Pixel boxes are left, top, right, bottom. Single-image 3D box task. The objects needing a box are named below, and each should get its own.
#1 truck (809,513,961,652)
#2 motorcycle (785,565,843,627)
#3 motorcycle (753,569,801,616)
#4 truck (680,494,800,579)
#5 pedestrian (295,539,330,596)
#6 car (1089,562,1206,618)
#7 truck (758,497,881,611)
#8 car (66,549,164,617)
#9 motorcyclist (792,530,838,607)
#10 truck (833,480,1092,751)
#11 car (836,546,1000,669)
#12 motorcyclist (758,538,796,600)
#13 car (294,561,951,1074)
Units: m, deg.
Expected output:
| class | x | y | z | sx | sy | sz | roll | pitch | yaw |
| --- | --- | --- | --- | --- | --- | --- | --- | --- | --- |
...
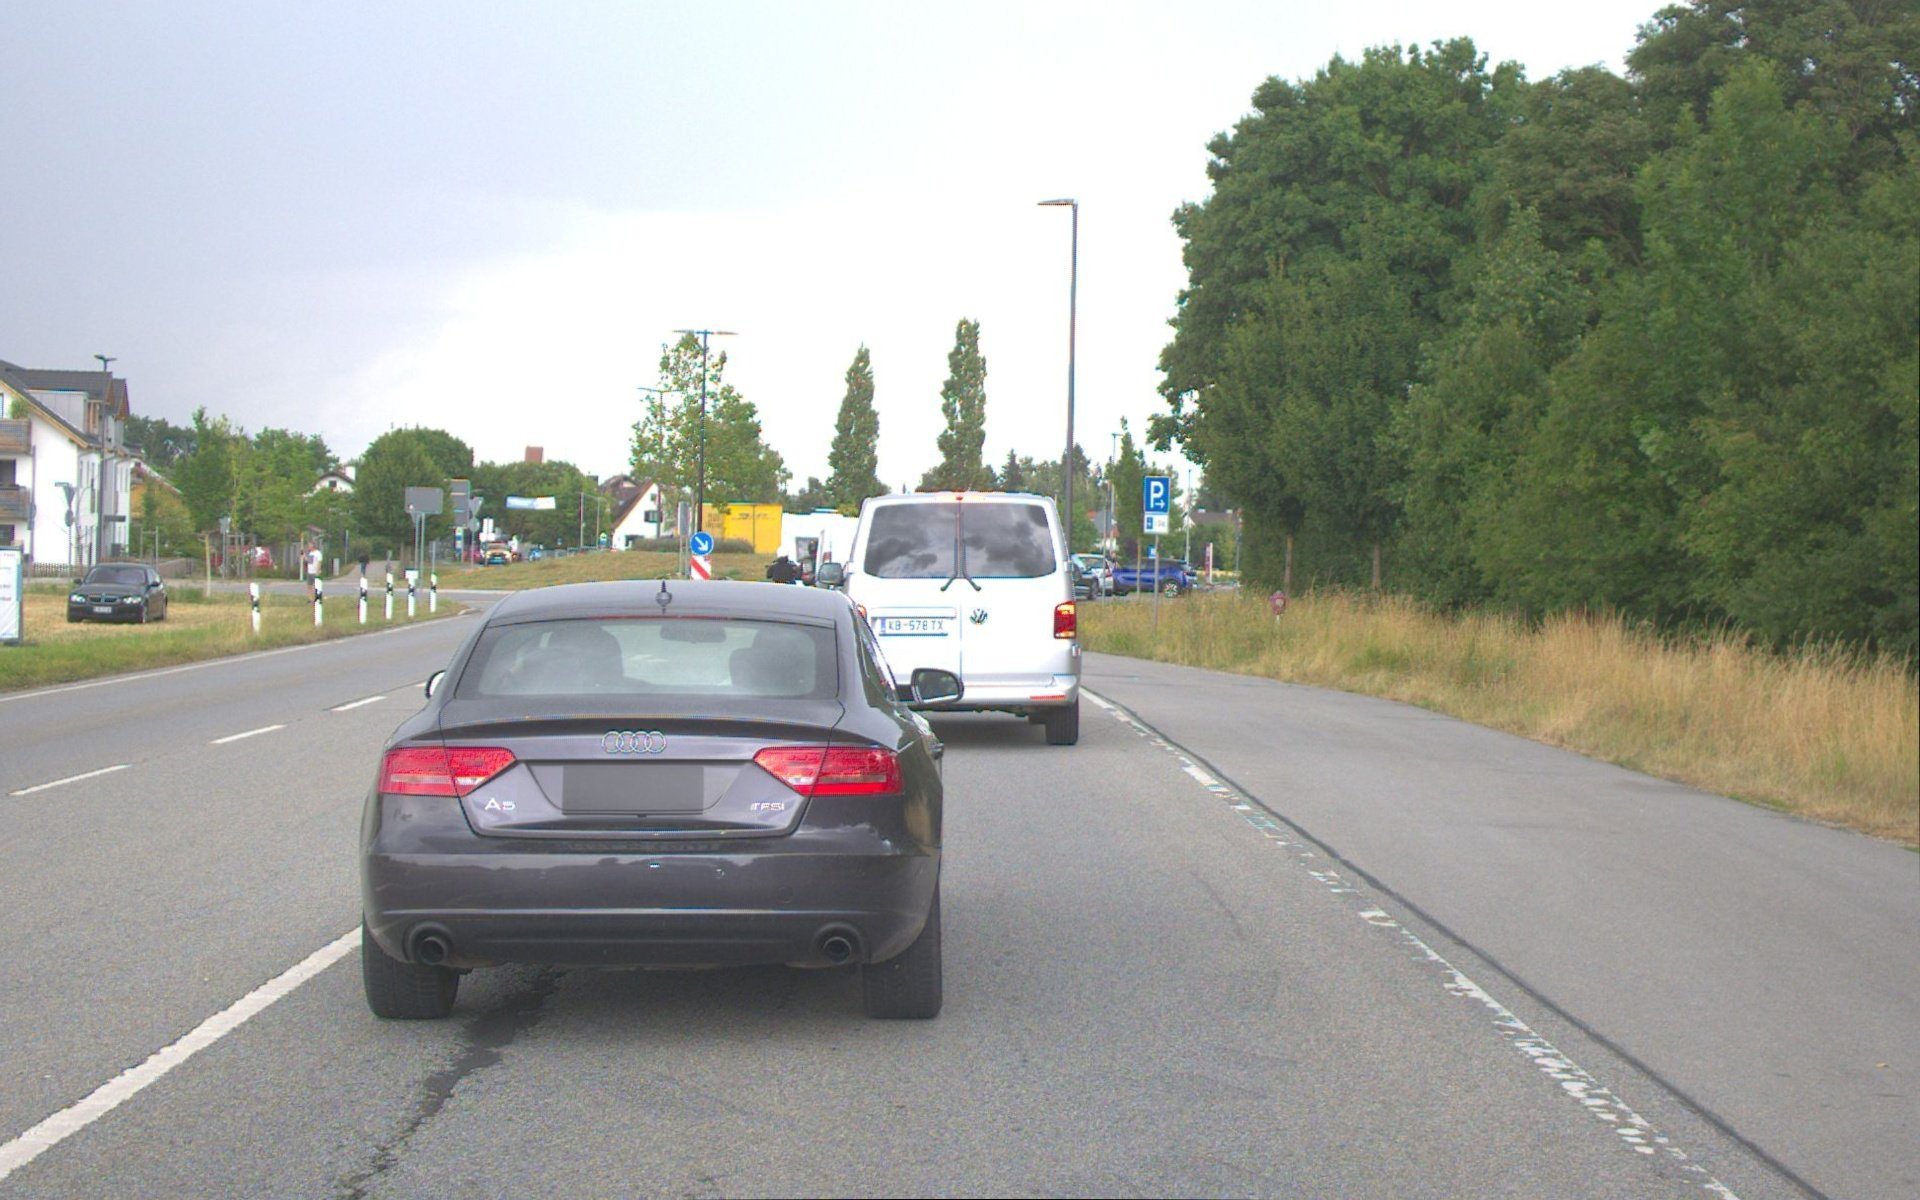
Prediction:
| class | x | y | z | sx | sy | sz | roll | pitch | yaw |
| --- | --- | --- | --- | --- | --- | --- | --- | --- | --- |
| truck | -1.107 | -0.288 | 53.392 | 2.193 | 2.007 | 5.085 | 1 | 1 | 0 |
| motorcycle | -2.664 | -0.077 | 62.958 | 0.920 | 1.090 | 2.189 | 1 | 1 | 0 |
| motorcycle | -4.070 | -0.173 | 76.599 | 0.944 | 1.016 | 2.284 | 1 | 1 | 0 |
| truck | -9.903 | -2.877 | 153.309 | 3.575 | 3.566 | 9.960 | 2 | 1 | -14 |
| pedestrian | -18.229 | -0.913 | 96.790 | 0.701 | 1.580 | 0.657 | 1 | 0 | 17 |
| car | 7.130 | -0.384 | 130.833 | 3.991 | 2.007 | 1.998 | 2 | 1 | 20 |
| truck | -3.639 | -1.168 | 87.728 | 2.626 | 2.728 | 5.868 | 2 | 1 | -7 |
| car | -19.691 | -0.415 | 80.253 | 1.993 | 1.437 | 4.001 | 1 | 1 | -11 |
| motorcyclist | -2.652 | -0.584 | 62.875 | 0.772 | 1.379 | 0.820 | 1 | 1 | 1 |
| truck | 0.025 | 0.079 | 28.002 | 1.904 | 1.991 | 4.628 | 1 | 1 | 0 |
| car | -0.545 | 0.071 | 44.290 | 1.993 | 1.480 | 4.000 | 1 | 1 | -1 |
| motorcyclist | -4.074 | -0.689 | 76.558 | 0.785 | 1.352 | 0.854 | 1 | 1 | 0 |
| car | -0.986 | 0.602 | 11.955 | 1.875 | 1.449 | 4.177 | 0 | 1 | 0 |
